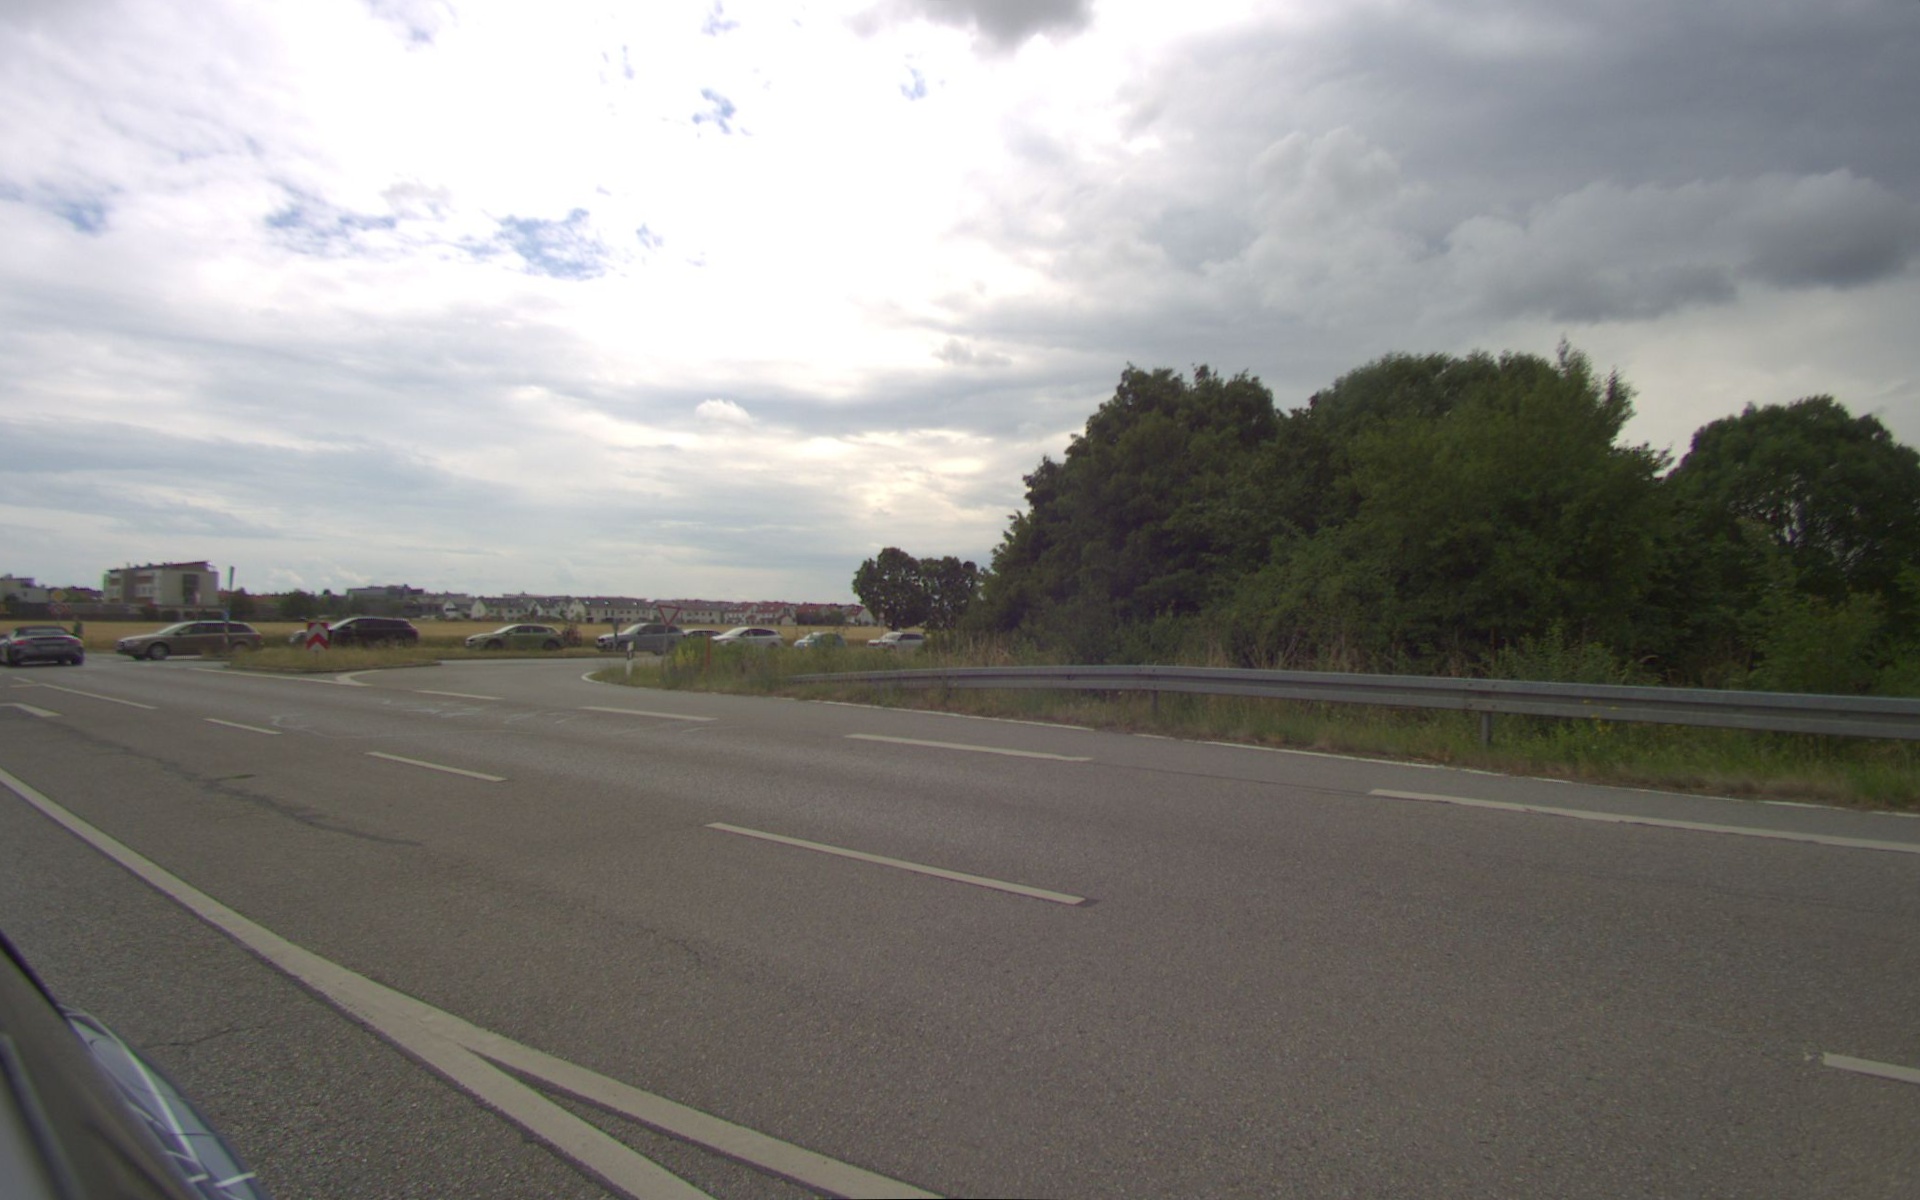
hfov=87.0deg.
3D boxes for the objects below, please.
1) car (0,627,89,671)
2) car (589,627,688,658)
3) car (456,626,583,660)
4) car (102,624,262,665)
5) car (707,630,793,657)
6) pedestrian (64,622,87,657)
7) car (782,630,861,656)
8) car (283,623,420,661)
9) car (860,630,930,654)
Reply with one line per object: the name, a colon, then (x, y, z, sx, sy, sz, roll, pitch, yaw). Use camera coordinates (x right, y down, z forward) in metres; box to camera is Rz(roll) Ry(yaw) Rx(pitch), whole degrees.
car: (-30.650, 1.587, 33.451, 4.233, 1.294, 2.143, -1, 0, 40)
car: (-16.687, 2.199, 52.658, 4.569, 1.528, 1.913, 2, -2, -44)
car: (-20.961, 2.035, 48.304, 5.223, 1.533, 1.913, 2, -2, -44)
car: (-29.332, 1.641, 38.297, 1.905, 1.435, 4.416, -1, -2, 32)
car: (-11.791, 2.421, 57.015, 4.438, 1.493, 1.913, 2, -2, -44)
pedestrian: (-42.215, 1.881, 48.294, 0.865, 1.617, 0.587, -1, -5, 38)
car: (-8.323, 2.575, 60.994, 4.438, 1.493, 1.913, 2, -2, -44)
car: (-25.859, 1.772, 43.097, 4.684, 1.543, 1.913, 2, -2, -44)
car: (-4.179, 2.681, 65.436, 1.911, 1.493, 4.442, -1, -2, 43)
